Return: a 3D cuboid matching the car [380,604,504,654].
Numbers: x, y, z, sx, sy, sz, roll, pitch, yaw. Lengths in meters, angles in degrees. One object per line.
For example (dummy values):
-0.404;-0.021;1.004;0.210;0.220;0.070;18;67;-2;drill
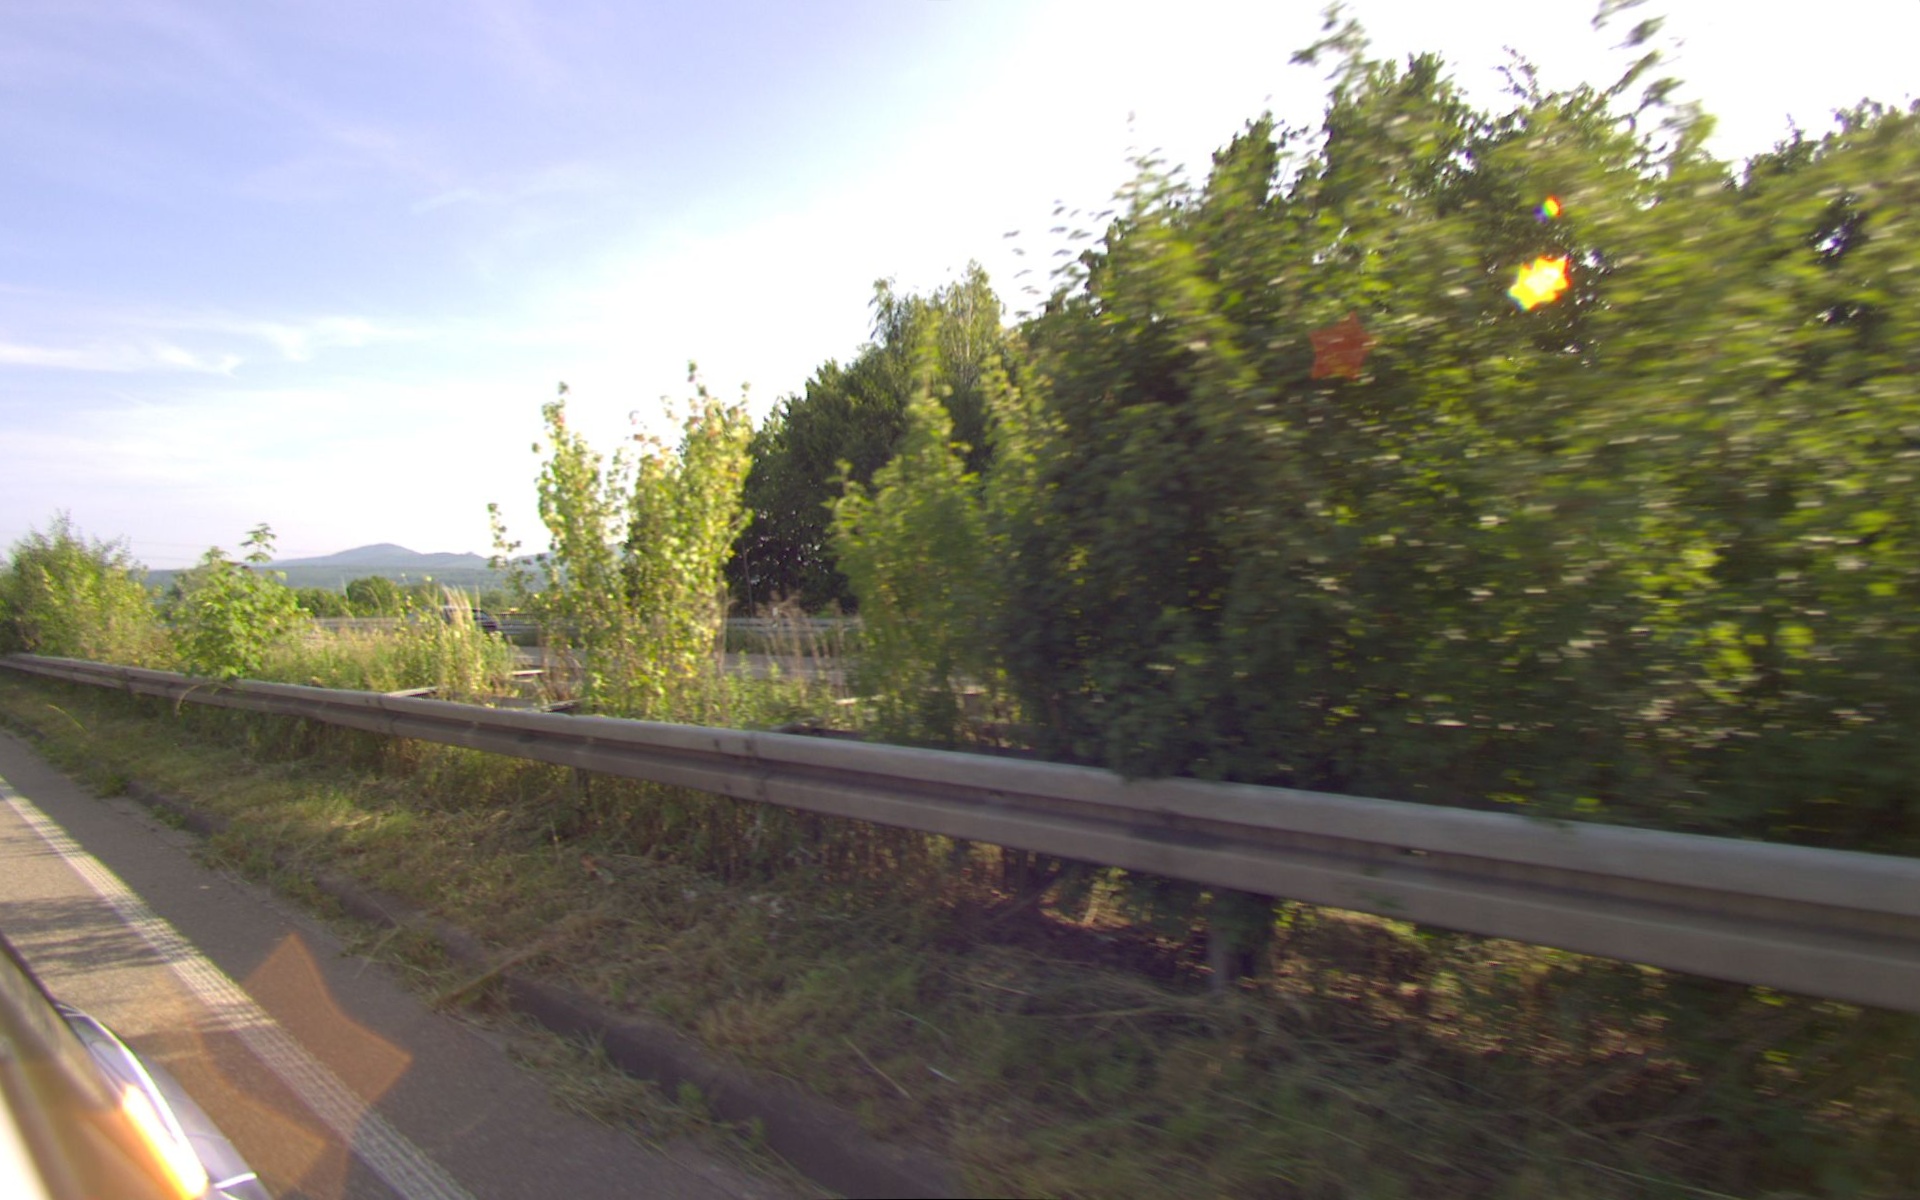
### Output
-16.365;0.909;31.907;4.100;1.464;1.935;-1;-2;38;car
